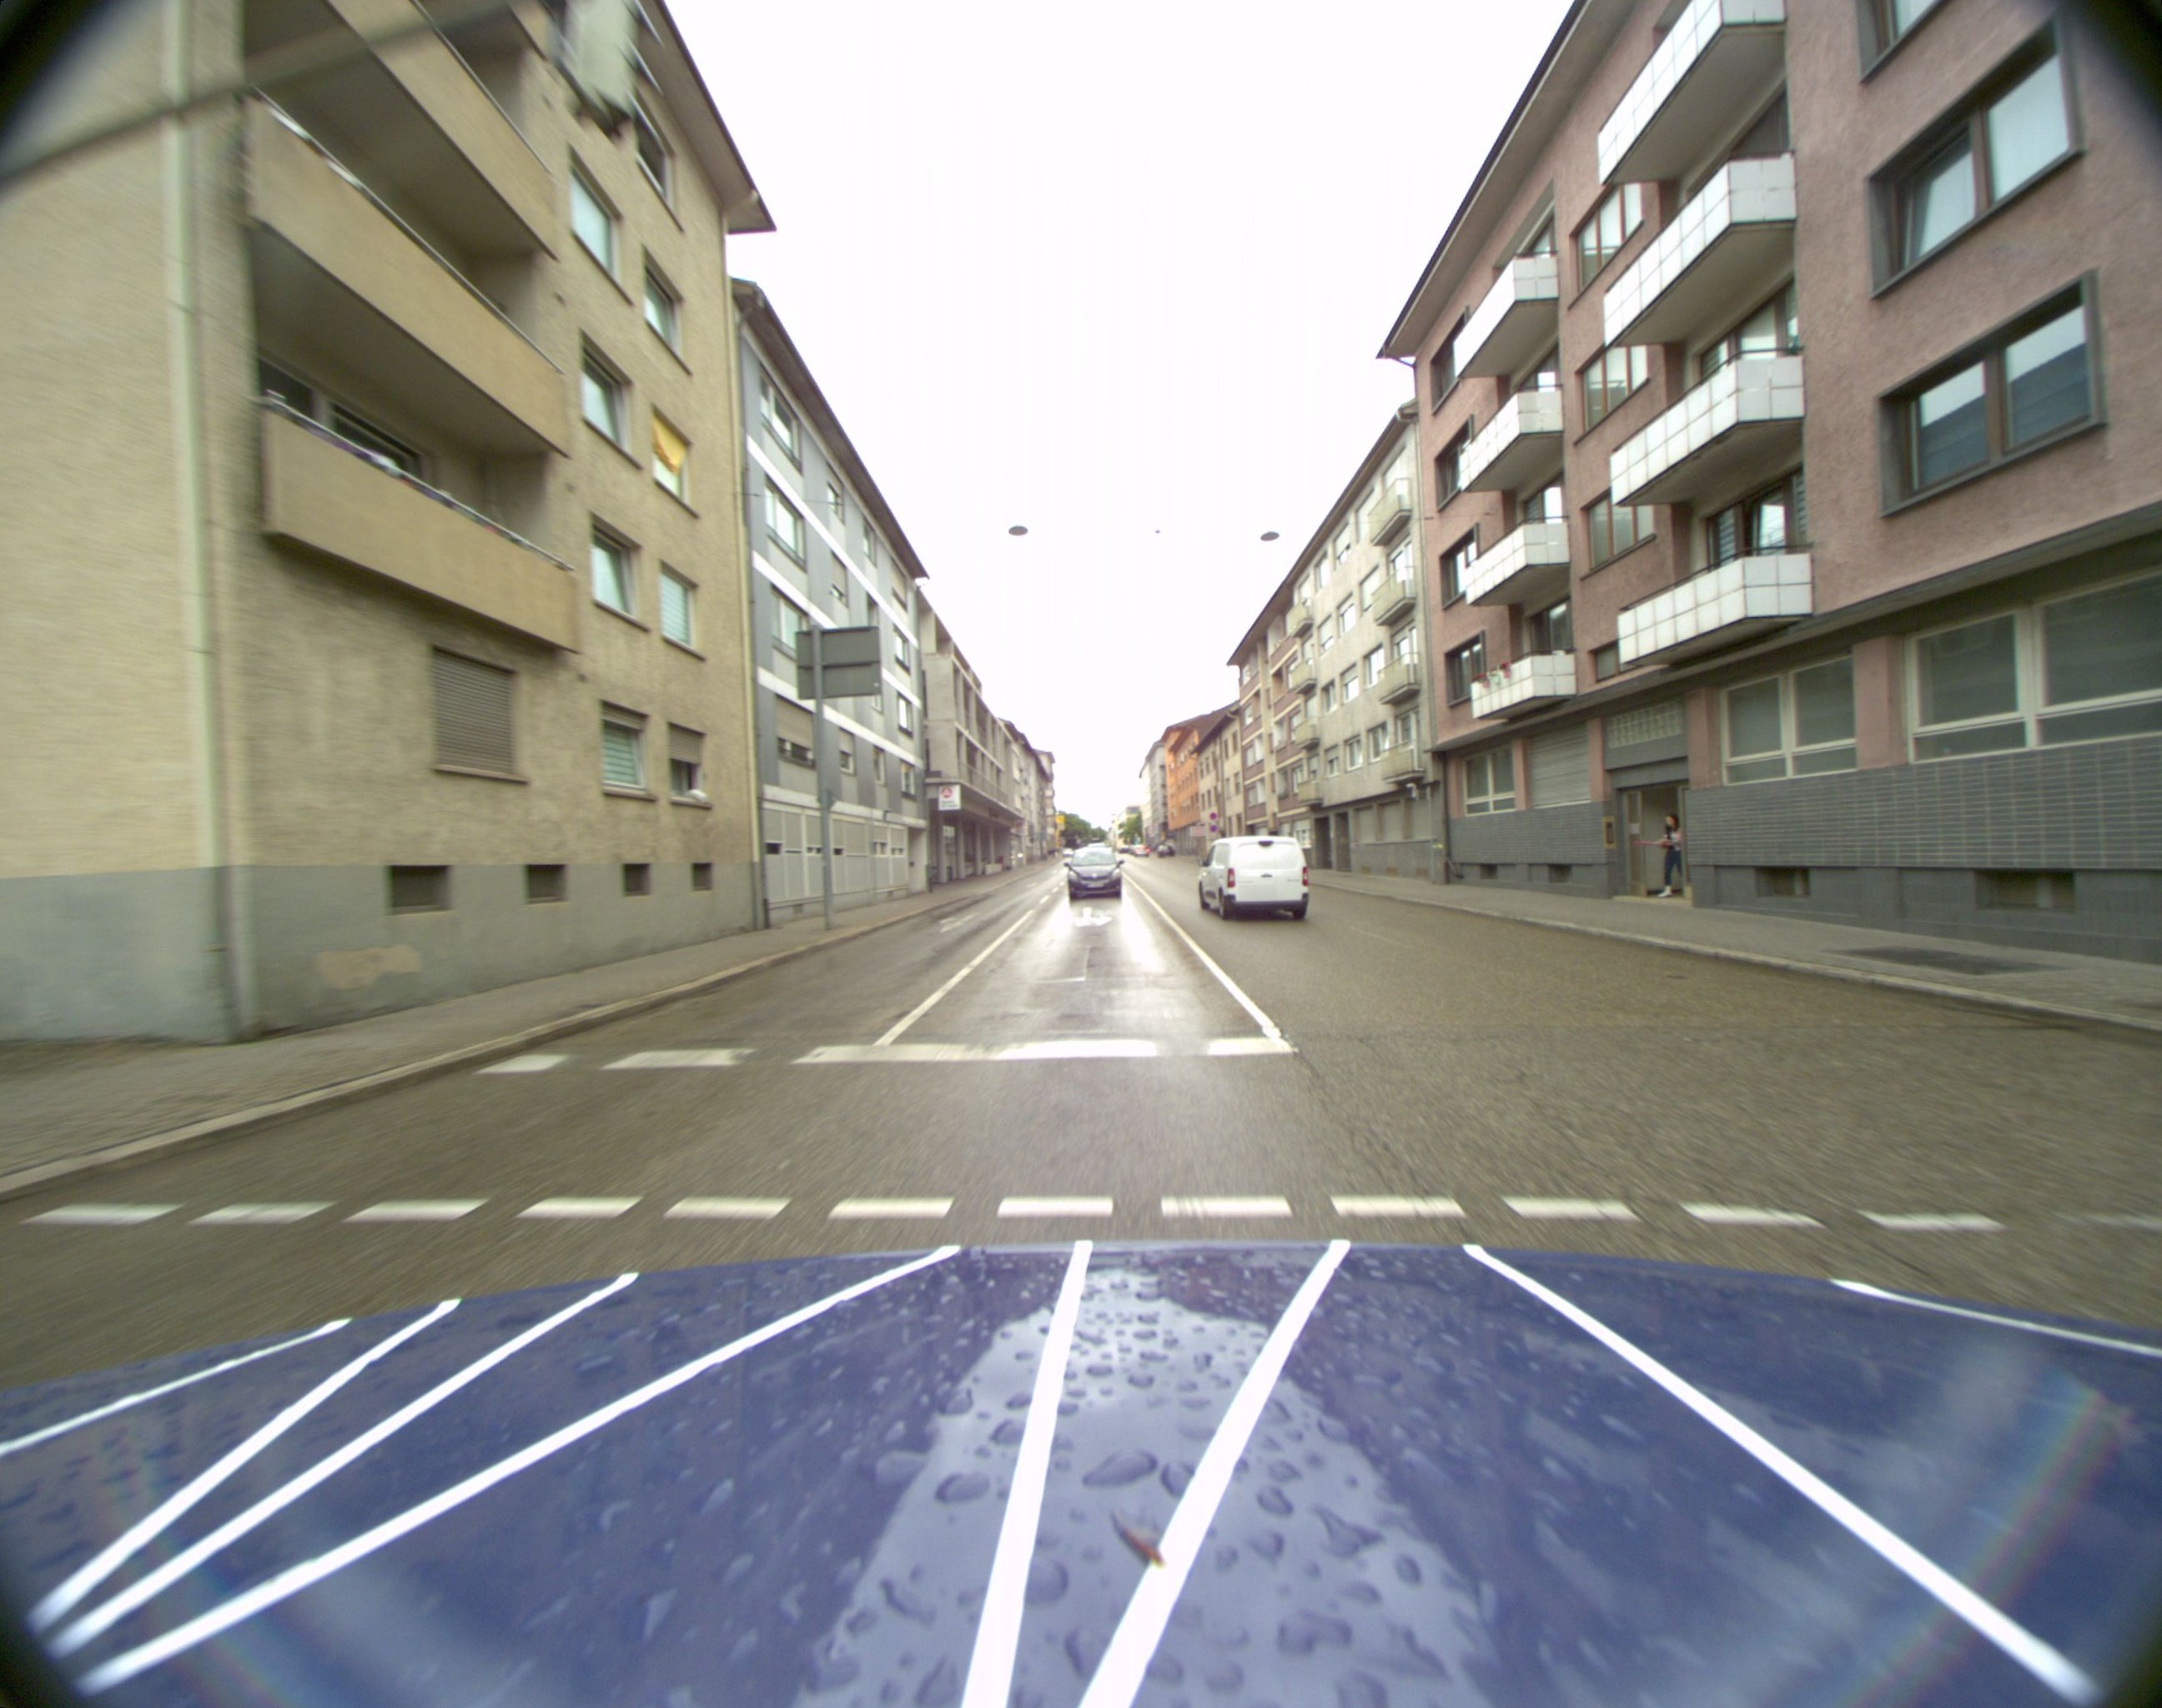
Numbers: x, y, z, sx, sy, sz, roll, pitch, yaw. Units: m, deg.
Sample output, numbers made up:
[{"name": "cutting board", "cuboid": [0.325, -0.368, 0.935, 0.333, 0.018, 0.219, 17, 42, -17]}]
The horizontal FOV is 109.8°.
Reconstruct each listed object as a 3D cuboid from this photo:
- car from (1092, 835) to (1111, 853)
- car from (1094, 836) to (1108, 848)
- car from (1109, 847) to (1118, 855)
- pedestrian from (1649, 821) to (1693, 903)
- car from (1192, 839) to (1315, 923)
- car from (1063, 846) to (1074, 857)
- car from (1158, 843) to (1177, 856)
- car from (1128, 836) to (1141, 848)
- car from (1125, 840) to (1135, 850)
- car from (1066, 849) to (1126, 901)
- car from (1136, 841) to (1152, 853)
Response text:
[{"name": "car", "cuboid": [2.035, -1.010, 74.891, 1.721, 1.652, 3.679, -4, 1, 3]}, {"name": "car", "cuboid": [2.967, -1.759, 110.511, 1.851, 1.652, 3.679, -4, 1, 3]}, {"name": "car", "cuboid": [6.691, -0.628, 157.154, 1.721, 1.652, 3.678, -4, 1, 3]}, {"name": "pedestrian", "cuboid": [11.546, 0.142, 14.878, 0.451, 1.551, 0.529, -8, 7, -24]}, {"name": "car", "cuboid": [3.838, 0.540, 17.734, 1.810, 1.705, 4.545, 0, 0, 0]}, {"name": "car", "cuboid": [-2.226, -0.448, 135.447, 1.721, 1.652, 3.678, -4, 1, 3]}, {"name": "car", "cuboid": [10.454, -0.604, 92.425, 1.707, 1.447, 3.803, -4, 1, -2]}, {"name": "car", "cuboid": [8.007, -1.861, 113.983, 1.721, 1.652, 3.678, -4, 1, 3]}, {"name": "car", "cuboid": [8.593, -1.586, 133.513, 1.721, 1.652, 3.678, -4, 1, 3]}, {"name": "car", "cuboid": [0.477, 0.663, 25.629, 1.732, 1.472, 4.072, -5, 0, 0]}, {"name": "car", "cuboid": [8.217, -0.919, 99.735, 1.732, 1.452, 4.071, 0, 1, 0]}]
